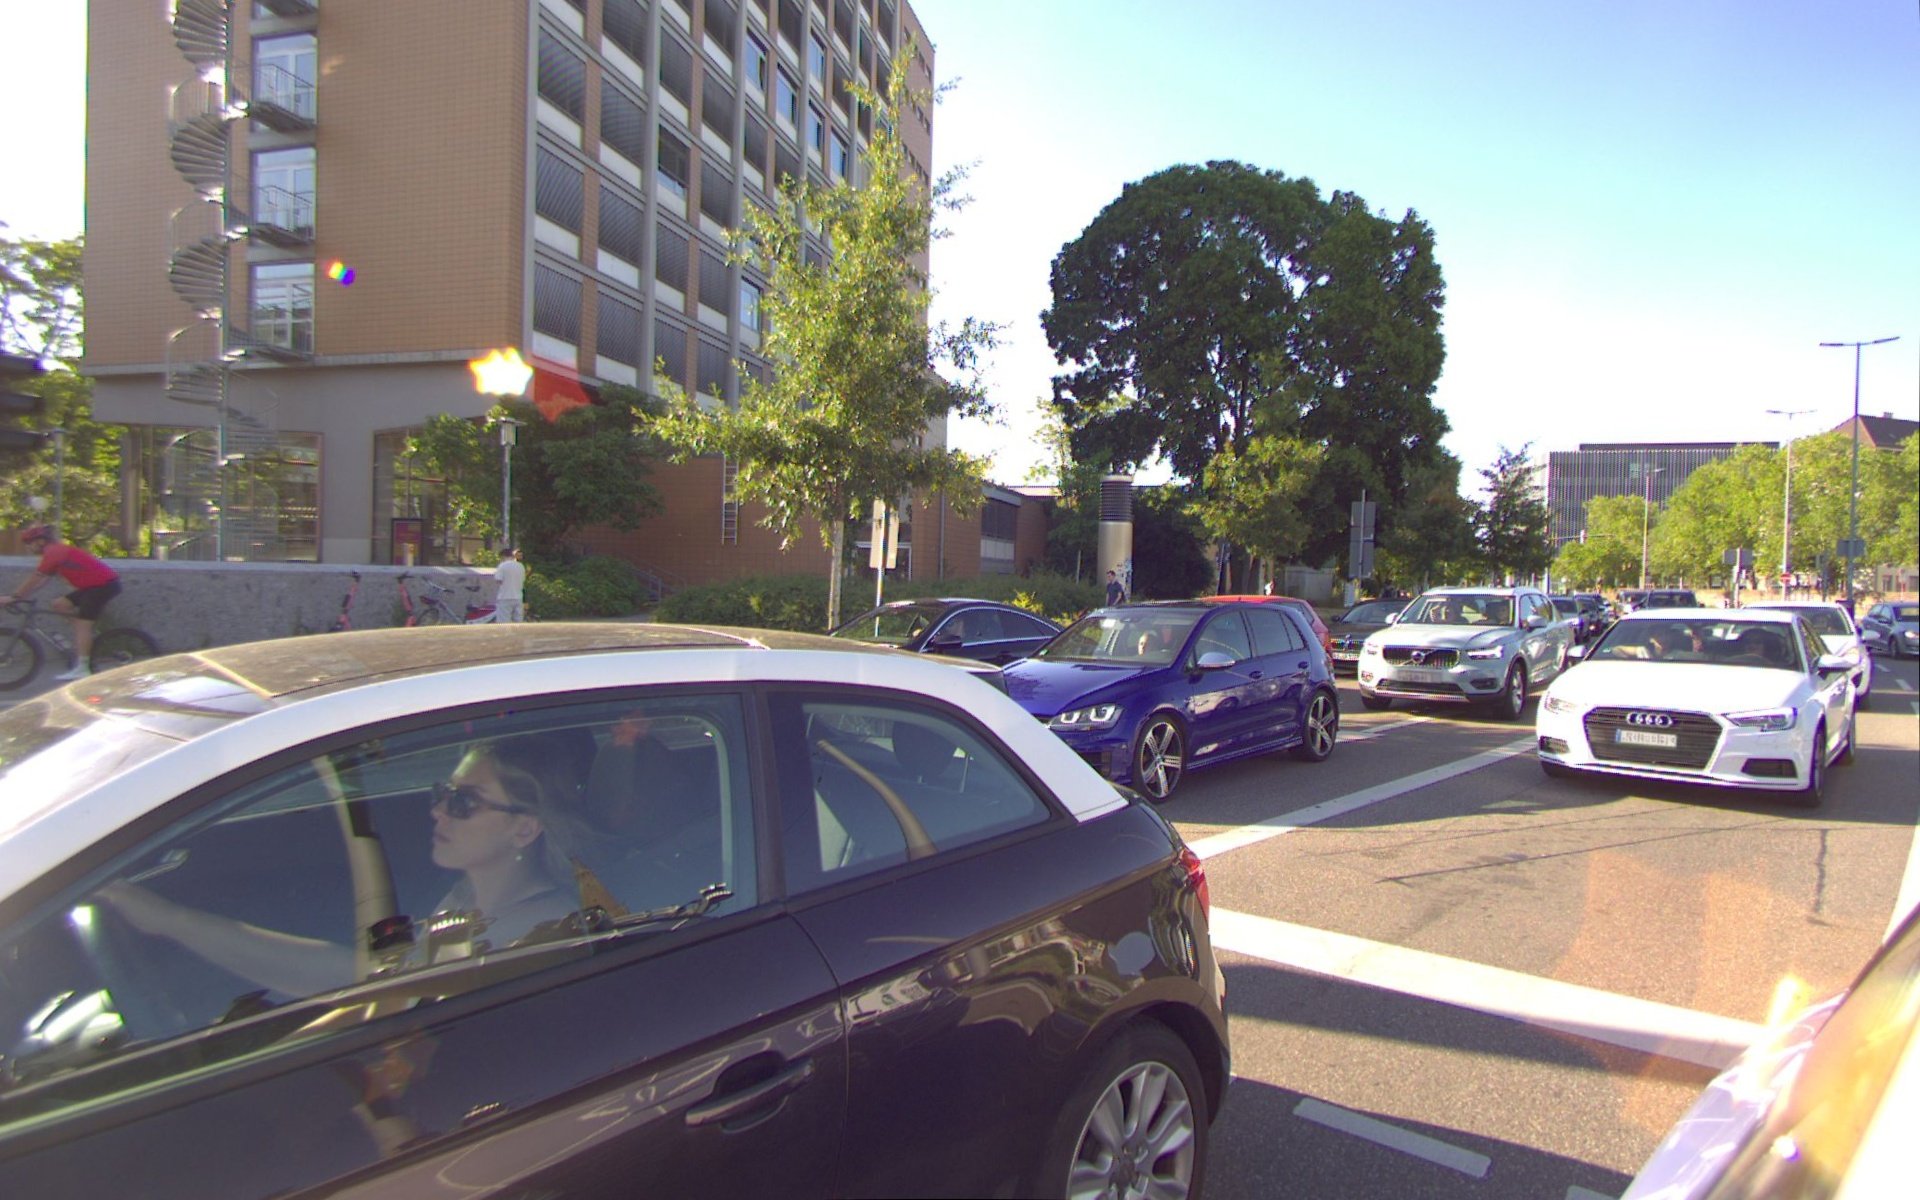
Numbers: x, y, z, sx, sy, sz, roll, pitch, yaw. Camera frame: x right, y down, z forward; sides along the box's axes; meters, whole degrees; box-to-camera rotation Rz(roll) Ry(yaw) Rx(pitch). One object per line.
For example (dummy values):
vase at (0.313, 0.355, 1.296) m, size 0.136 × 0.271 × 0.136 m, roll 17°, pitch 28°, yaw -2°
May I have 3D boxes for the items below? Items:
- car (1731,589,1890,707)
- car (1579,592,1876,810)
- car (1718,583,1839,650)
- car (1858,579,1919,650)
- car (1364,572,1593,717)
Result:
car at (12.568, 0.589, 15.002) m, size 1.622 × 1.478 × 3.983 m, roll 0°, pitch 1°, yaw 40°
car at (6.727, 0.661, 8.717) m, size 1.624 × 1.422 × 3.773 m, roll 0°, pitch 1°, yaw 44°
car at (21.375, 0.362, 26.588) m, size 1.731 × 1.564 × 3.960 m, roll 2°, pitch 2°, yaw 29°
car at (24.826, 0.351, 25.890) m, size 1.729 × 1.727 × 3.963 m, roll 2°, pitch 2°, yaw 27°
car at (7.065, 0.464, 13.583) m, size 1.624 × 1.641 × 4.158 m, roll 0°, pitch 1°, yaw 44°
